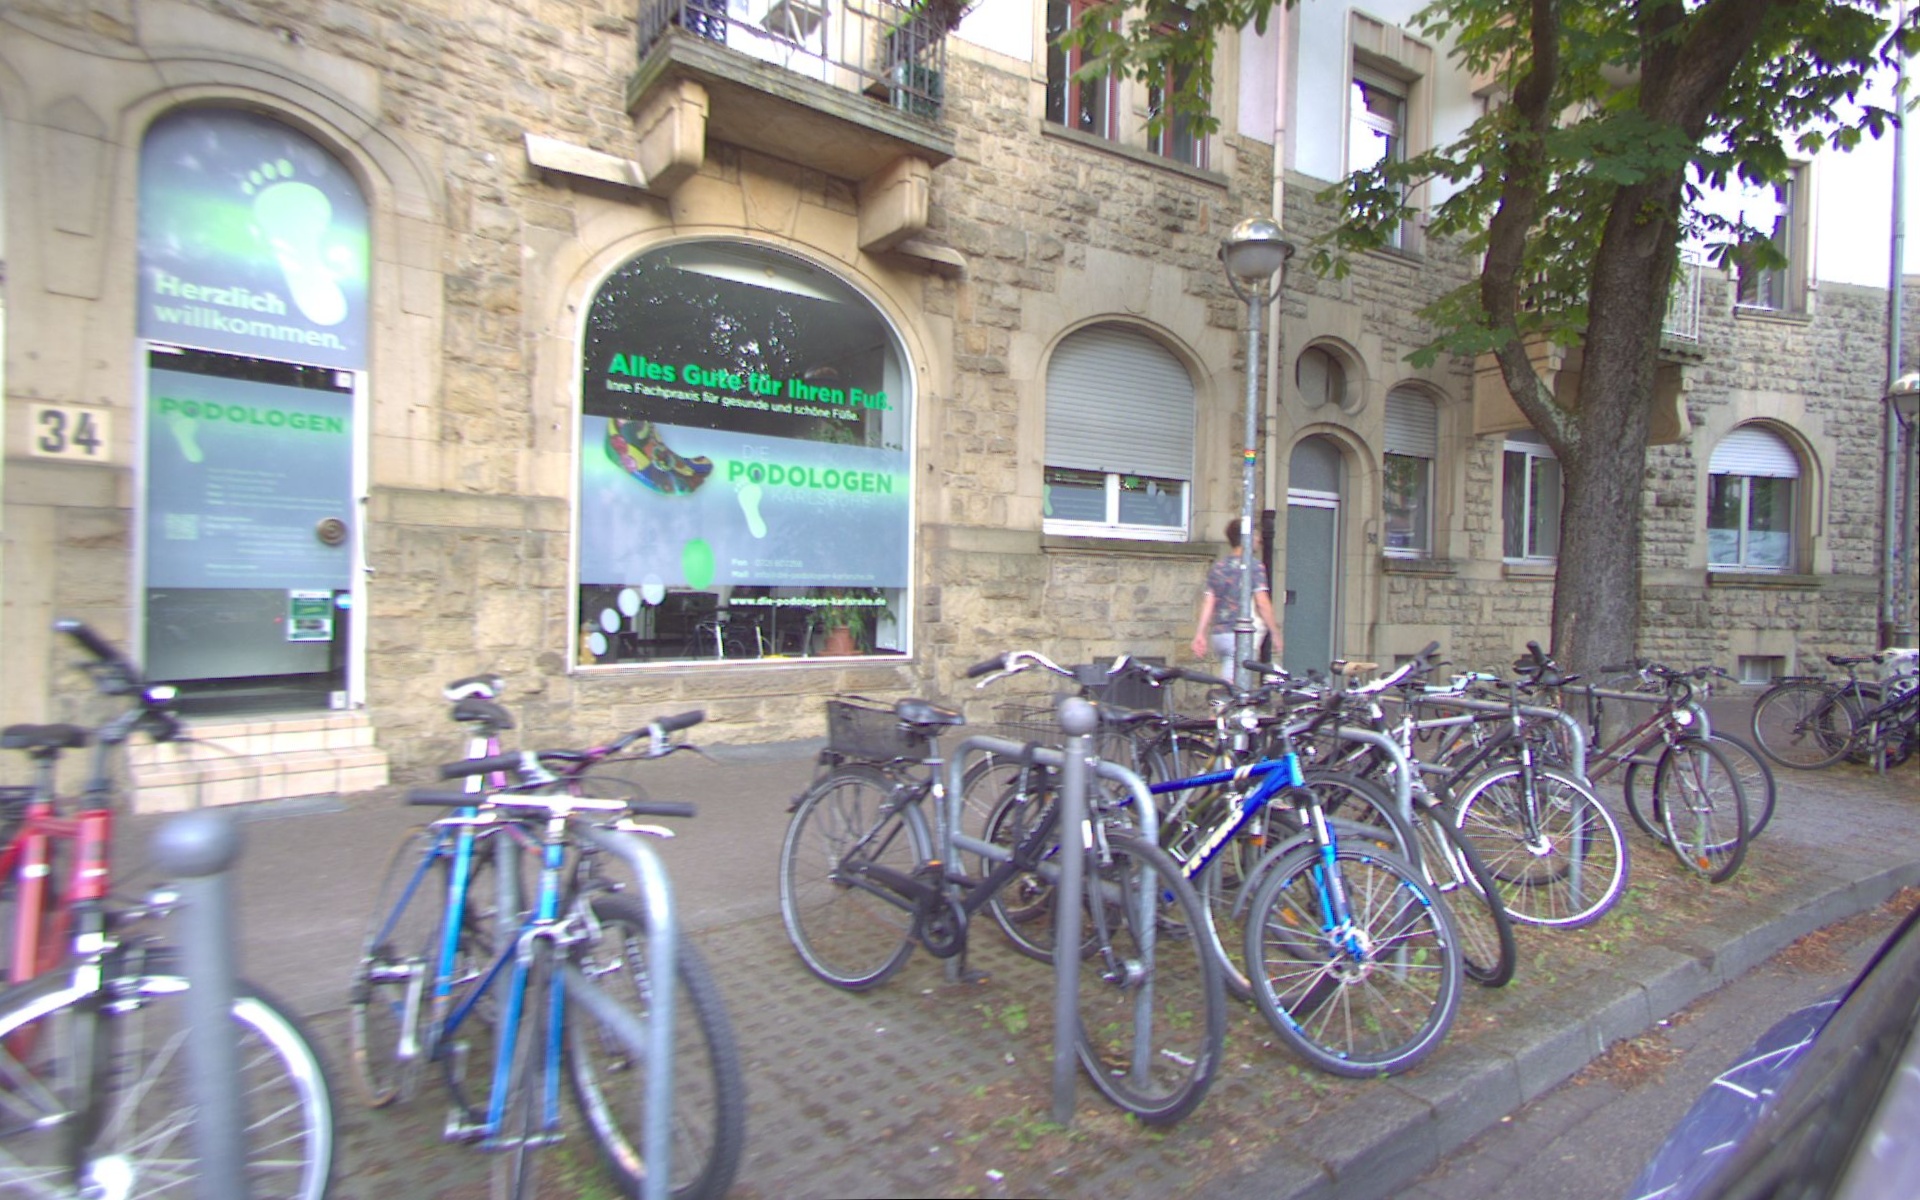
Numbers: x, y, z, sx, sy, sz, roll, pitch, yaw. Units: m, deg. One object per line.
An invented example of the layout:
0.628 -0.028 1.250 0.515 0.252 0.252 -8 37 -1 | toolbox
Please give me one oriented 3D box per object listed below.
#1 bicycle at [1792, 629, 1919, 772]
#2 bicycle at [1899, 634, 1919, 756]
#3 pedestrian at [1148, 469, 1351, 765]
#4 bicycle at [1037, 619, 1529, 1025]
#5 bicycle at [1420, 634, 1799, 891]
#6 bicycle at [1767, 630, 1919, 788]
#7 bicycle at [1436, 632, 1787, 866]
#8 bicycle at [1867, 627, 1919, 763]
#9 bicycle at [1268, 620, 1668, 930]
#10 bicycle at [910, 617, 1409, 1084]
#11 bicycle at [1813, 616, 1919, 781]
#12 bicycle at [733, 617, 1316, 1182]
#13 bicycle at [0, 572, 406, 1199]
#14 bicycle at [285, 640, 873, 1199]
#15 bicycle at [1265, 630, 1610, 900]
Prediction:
8.171 0.859 8.404 0.563 1.118 1.853 0 2 -40 | bicycle
9.124 0.909 8.393 0.412 1.138 1.860 -18 7 -16 | bicycle
2.250 0.112 7.925 1.039 2.111 1.015 2 1 -32 | pedestrian
1.182 0.717 4.164 0.691 1.177 1.893 1 2 -33 | bicycle
3.464 0.790 5.564 0.477 1.091 1.676 1 2 -35 | bicycle
7.443 0.853 7.757 0.482 1.154 1.887 5 -2 -30 | bicycle
3.772 0.788 6.008 0.477 1.091 1.676 1 2 -35 | bicycle
8.724 0.857 8.353 0.410 1.159 1.860 1 1 -17 | bicycle
2.324 0.736 4.876 0.476 1.142 1.678 8 -2 -26 | bicycle
0.580 0.700 3.721 0.628 1.177 1.893 1 2 -33 | bicycle
7.858 0.809 7.866 0.482 1.231 1.890 -5 3 -17 | bicycle
0.068 0.693 3.185 0.630 1.177 1.887 0 2 -44 | bicycle
-1.714 0.589 1.945 0.688 1.252 1.789 0 2 -44 | bicycle
-1.056 0.694 2.484 0.688 1.051 1.803 0 2 -44 | bicycle
2.410 0.758 5.340 0.476 1.091 1.678 1 2 -27 | bicycle
